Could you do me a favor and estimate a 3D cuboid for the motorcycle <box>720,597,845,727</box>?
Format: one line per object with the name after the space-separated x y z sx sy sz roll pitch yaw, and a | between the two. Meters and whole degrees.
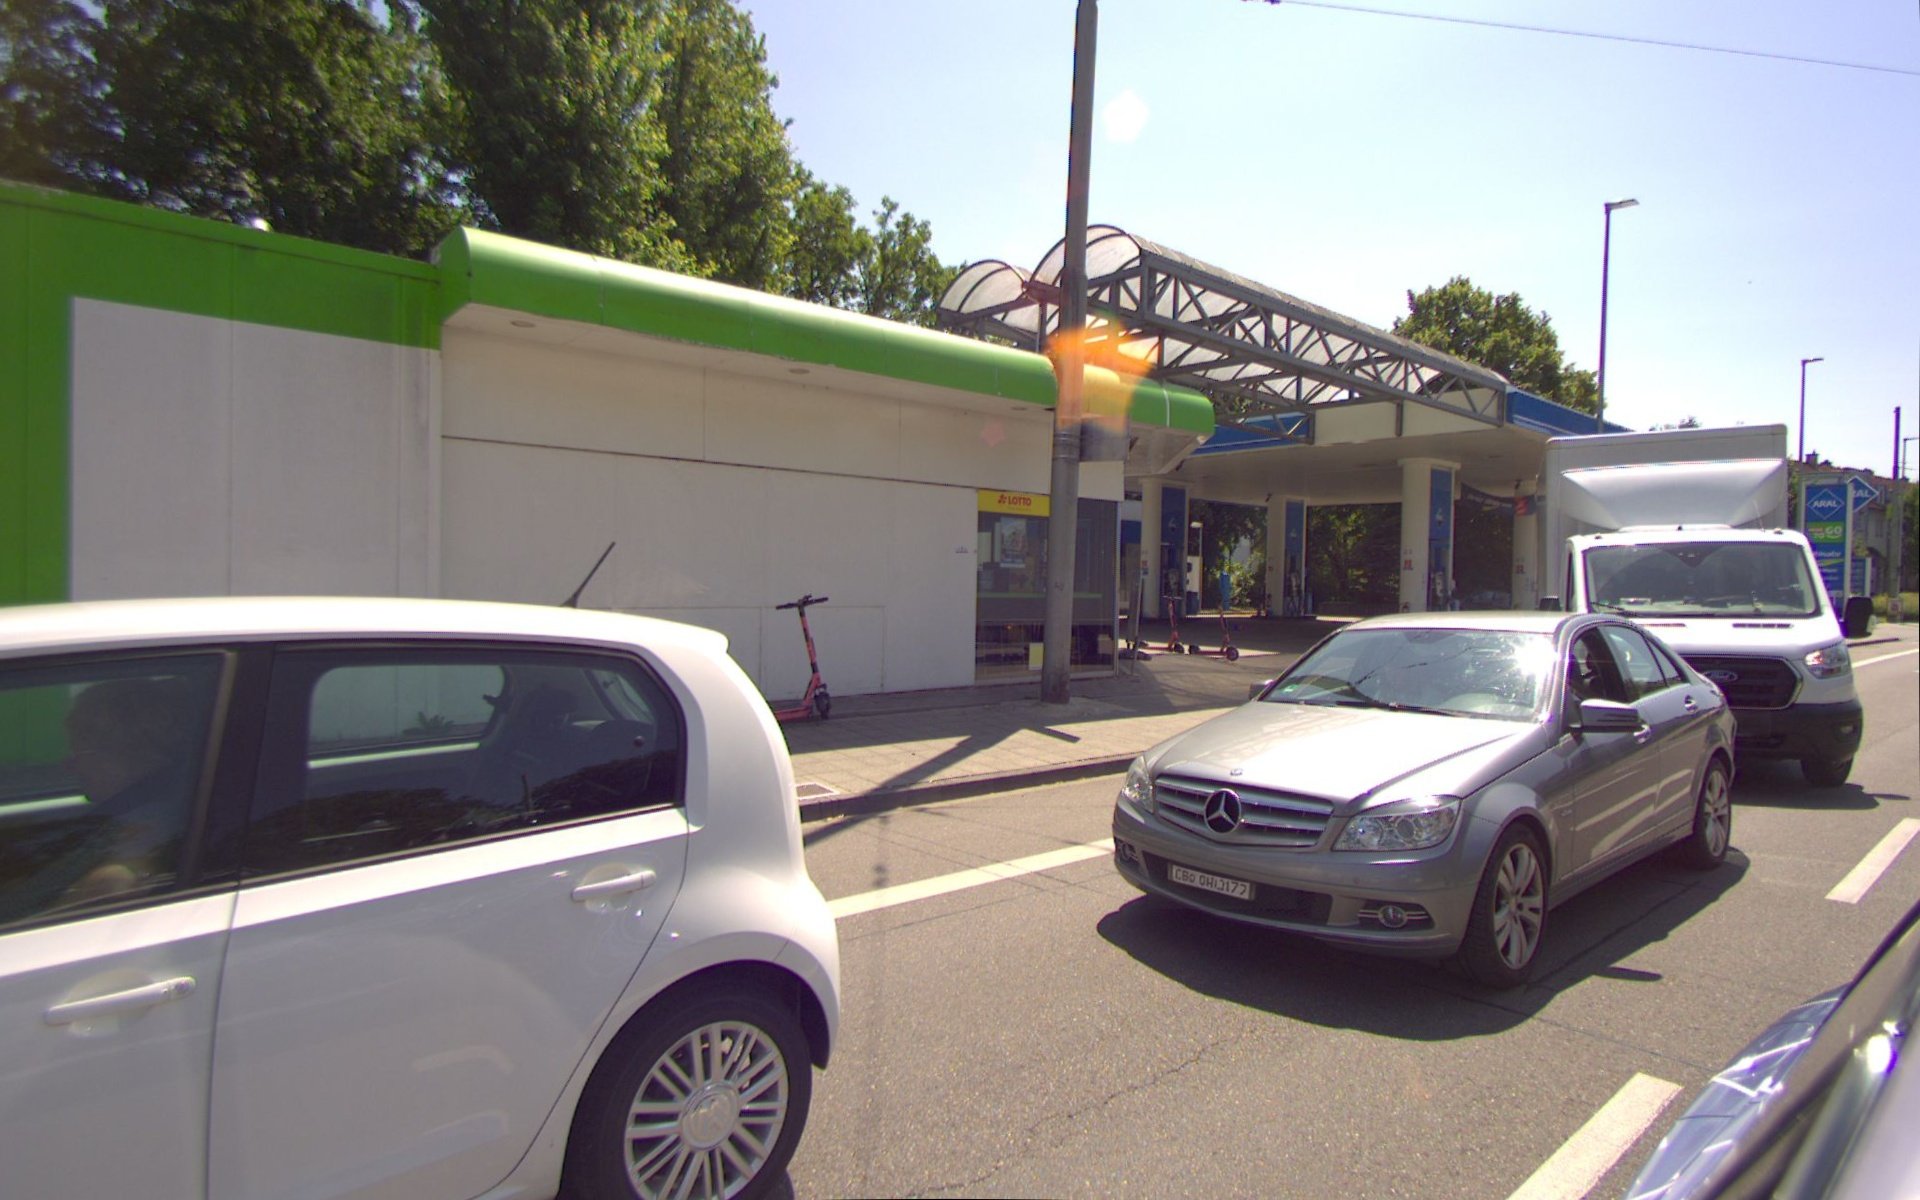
-1.628 0.547 9.351 1.098 1.118 0.253 -1 7 -40 | motorcycle

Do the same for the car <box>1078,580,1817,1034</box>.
3.088 0.699 5.671 5.206 1.492 1.716 0 -1 -40 | car

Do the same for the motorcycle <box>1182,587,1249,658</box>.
4.786 0.405 18.994 0.357 1.225 1.156 2 2 -41 | motorcycle

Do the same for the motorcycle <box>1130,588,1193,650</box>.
3.965 0.365 19.930 0.389 1.127 1.156 2 2 -41 | motorcycle

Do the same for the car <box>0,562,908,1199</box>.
-1.937 0.673 2.148 3.374 1.466 1.612 1 0 -40 | car

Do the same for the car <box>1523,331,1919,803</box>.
7.925 -0.270 11.517 2.209 3.377 8.556 0 0 26 | car
